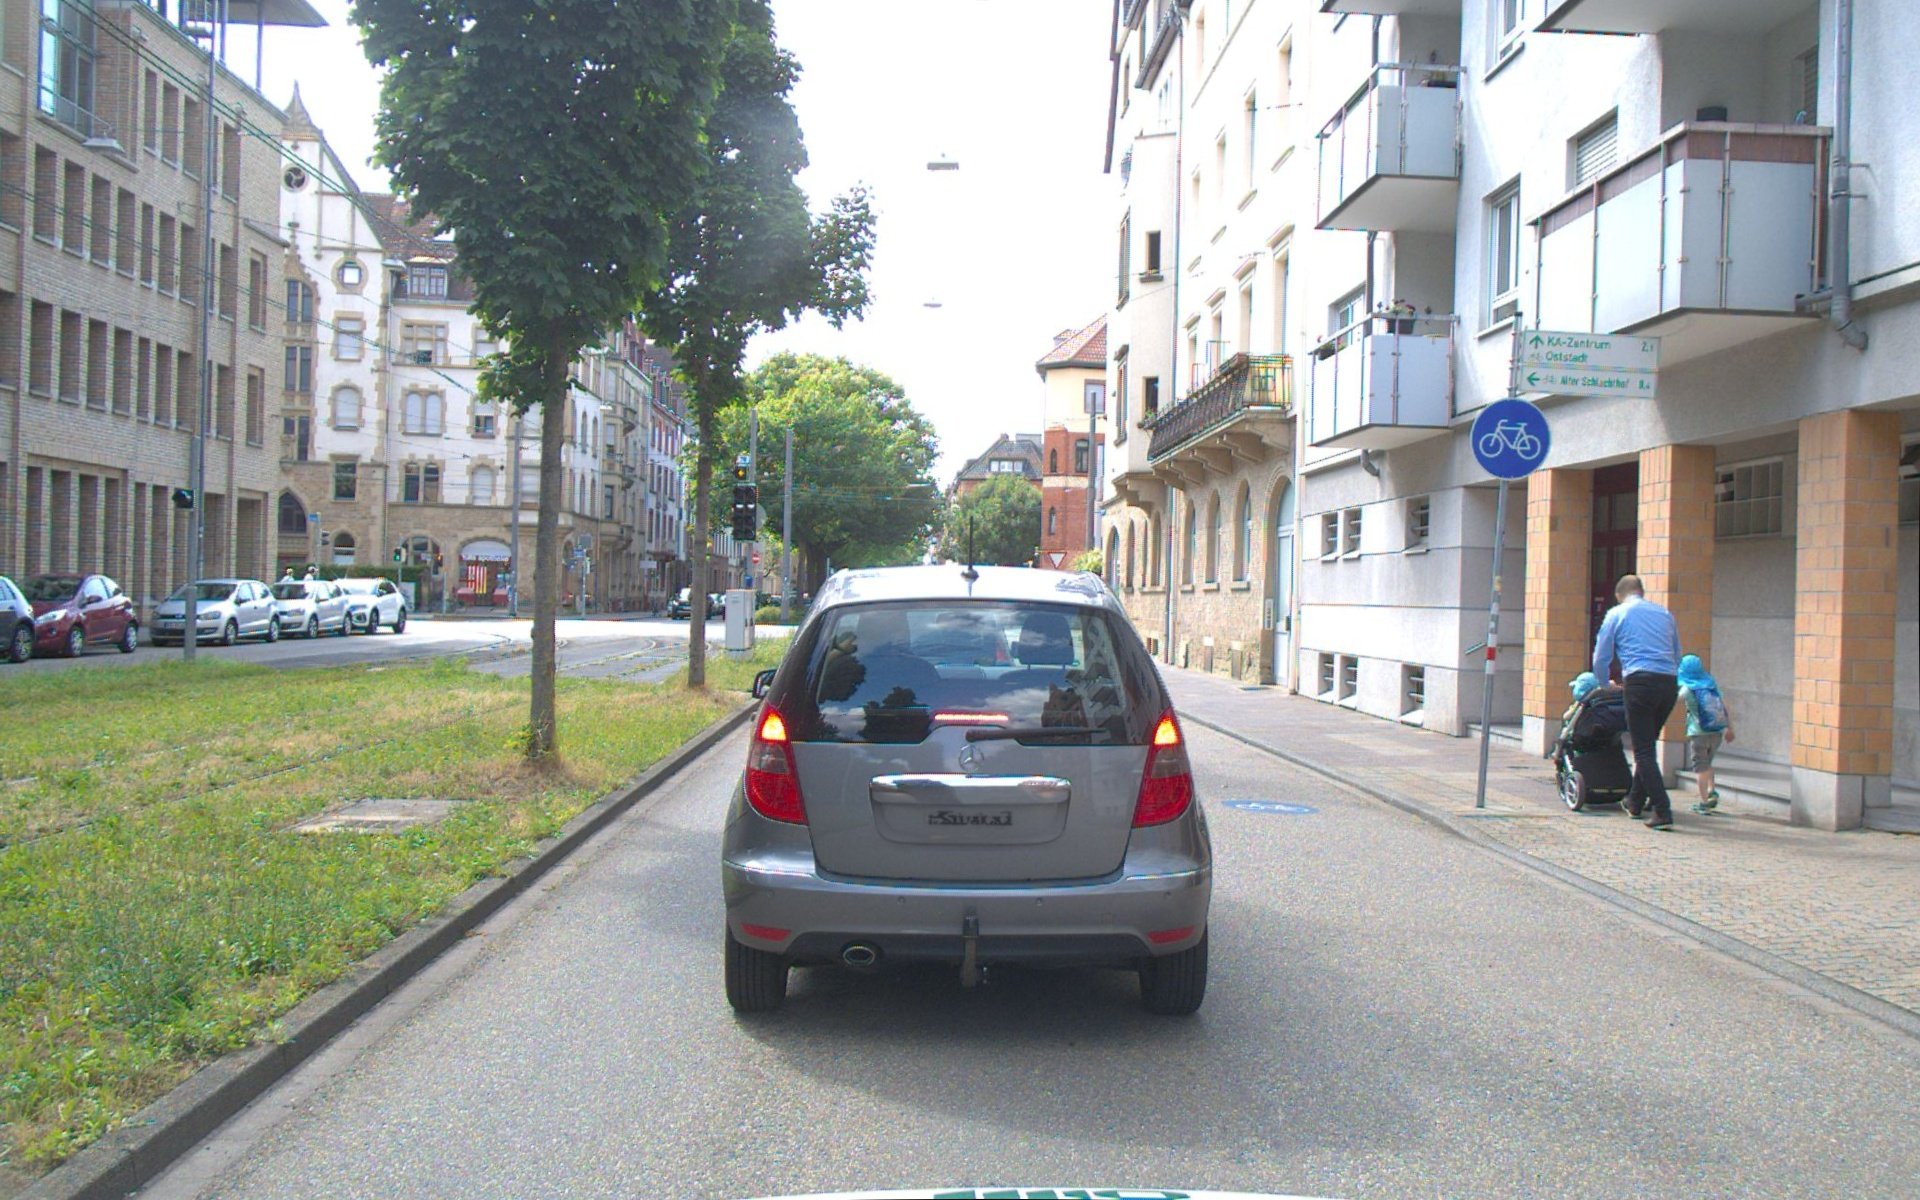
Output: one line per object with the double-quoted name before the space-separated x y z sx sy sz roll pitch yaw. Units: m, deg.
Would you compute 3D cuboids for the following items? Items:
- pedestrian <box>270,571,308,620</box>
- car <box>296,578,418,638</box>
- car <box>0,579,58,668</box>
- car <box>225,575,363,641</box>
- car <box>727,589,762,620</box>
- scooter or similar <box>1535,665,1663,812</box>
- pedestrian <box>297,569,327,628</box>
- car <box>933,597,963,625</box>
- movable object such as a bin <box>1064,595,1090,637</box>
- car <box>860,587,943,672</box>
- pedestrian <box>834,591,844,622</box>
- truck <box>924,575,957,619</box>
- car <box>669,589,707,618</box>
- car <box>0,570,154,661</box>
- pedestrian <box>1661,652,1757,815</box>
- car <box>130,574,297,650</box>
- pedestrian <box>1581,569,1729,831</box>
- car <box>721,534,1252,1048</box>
"pedestrian" -24.547 -0.153 60.504 0.763 1.752 1.017 1 0 44
"car" -16.981 0.211 46.782 1.893 1.561 4.257 1 0 -1
"car" -16.178 0.356 25.813 1.893 1.420 4.238 1 0 -1
"car" -16.926 0.195 42.241 1.893 1.557 4.014 1 0 -1
"car" -12.645 0.279 97.037 1.955 1.758 3.994 1 0 -7
"scooter or similar" 4.882 1.041 12.682 0.580 1.019 0.905 -3 0 -1
"pedestrian" -20.356 -0.053 51.932 0.751 1.827 0.952 2 0 -27
"car" -0.743 0.663 103.960 1.716 1.661 3.500 2 0 2
"movable object such as a bin" 4.215 0.569 59.660 0.701 1.497 0.980 1 0 -10
"car" -1.229 0.618 36.025 1.687 1.736 3.676 1 0 -1
"pedestrian" -6.818 0.351 93.244 0.484 1.755 0.652 2 0 -11
"truck" -1.365 -0.215 116.890 2.079 3.022 4.001 1 0 2
"car" -15.698 0.188 95.453 1.955 1.646 3.994 1 0 -7
"car" -16.452 0.262 30.369 1.550 1.557 3.549 1 0 -1
"pedestrian" 5.555 0.976 12.279 0.447 1.154 0.494 -2 0 -1
"car" -16.573 0.247 36.958 1.813 1.557 4.209 1 0 -1
"pedestrian" 4.916 0.680 11.742 0.608 1.769 0.877 -2 0 -1
"car" 0.065 0.618 7.151 1.687 1.633 3.676 1 0 -1
